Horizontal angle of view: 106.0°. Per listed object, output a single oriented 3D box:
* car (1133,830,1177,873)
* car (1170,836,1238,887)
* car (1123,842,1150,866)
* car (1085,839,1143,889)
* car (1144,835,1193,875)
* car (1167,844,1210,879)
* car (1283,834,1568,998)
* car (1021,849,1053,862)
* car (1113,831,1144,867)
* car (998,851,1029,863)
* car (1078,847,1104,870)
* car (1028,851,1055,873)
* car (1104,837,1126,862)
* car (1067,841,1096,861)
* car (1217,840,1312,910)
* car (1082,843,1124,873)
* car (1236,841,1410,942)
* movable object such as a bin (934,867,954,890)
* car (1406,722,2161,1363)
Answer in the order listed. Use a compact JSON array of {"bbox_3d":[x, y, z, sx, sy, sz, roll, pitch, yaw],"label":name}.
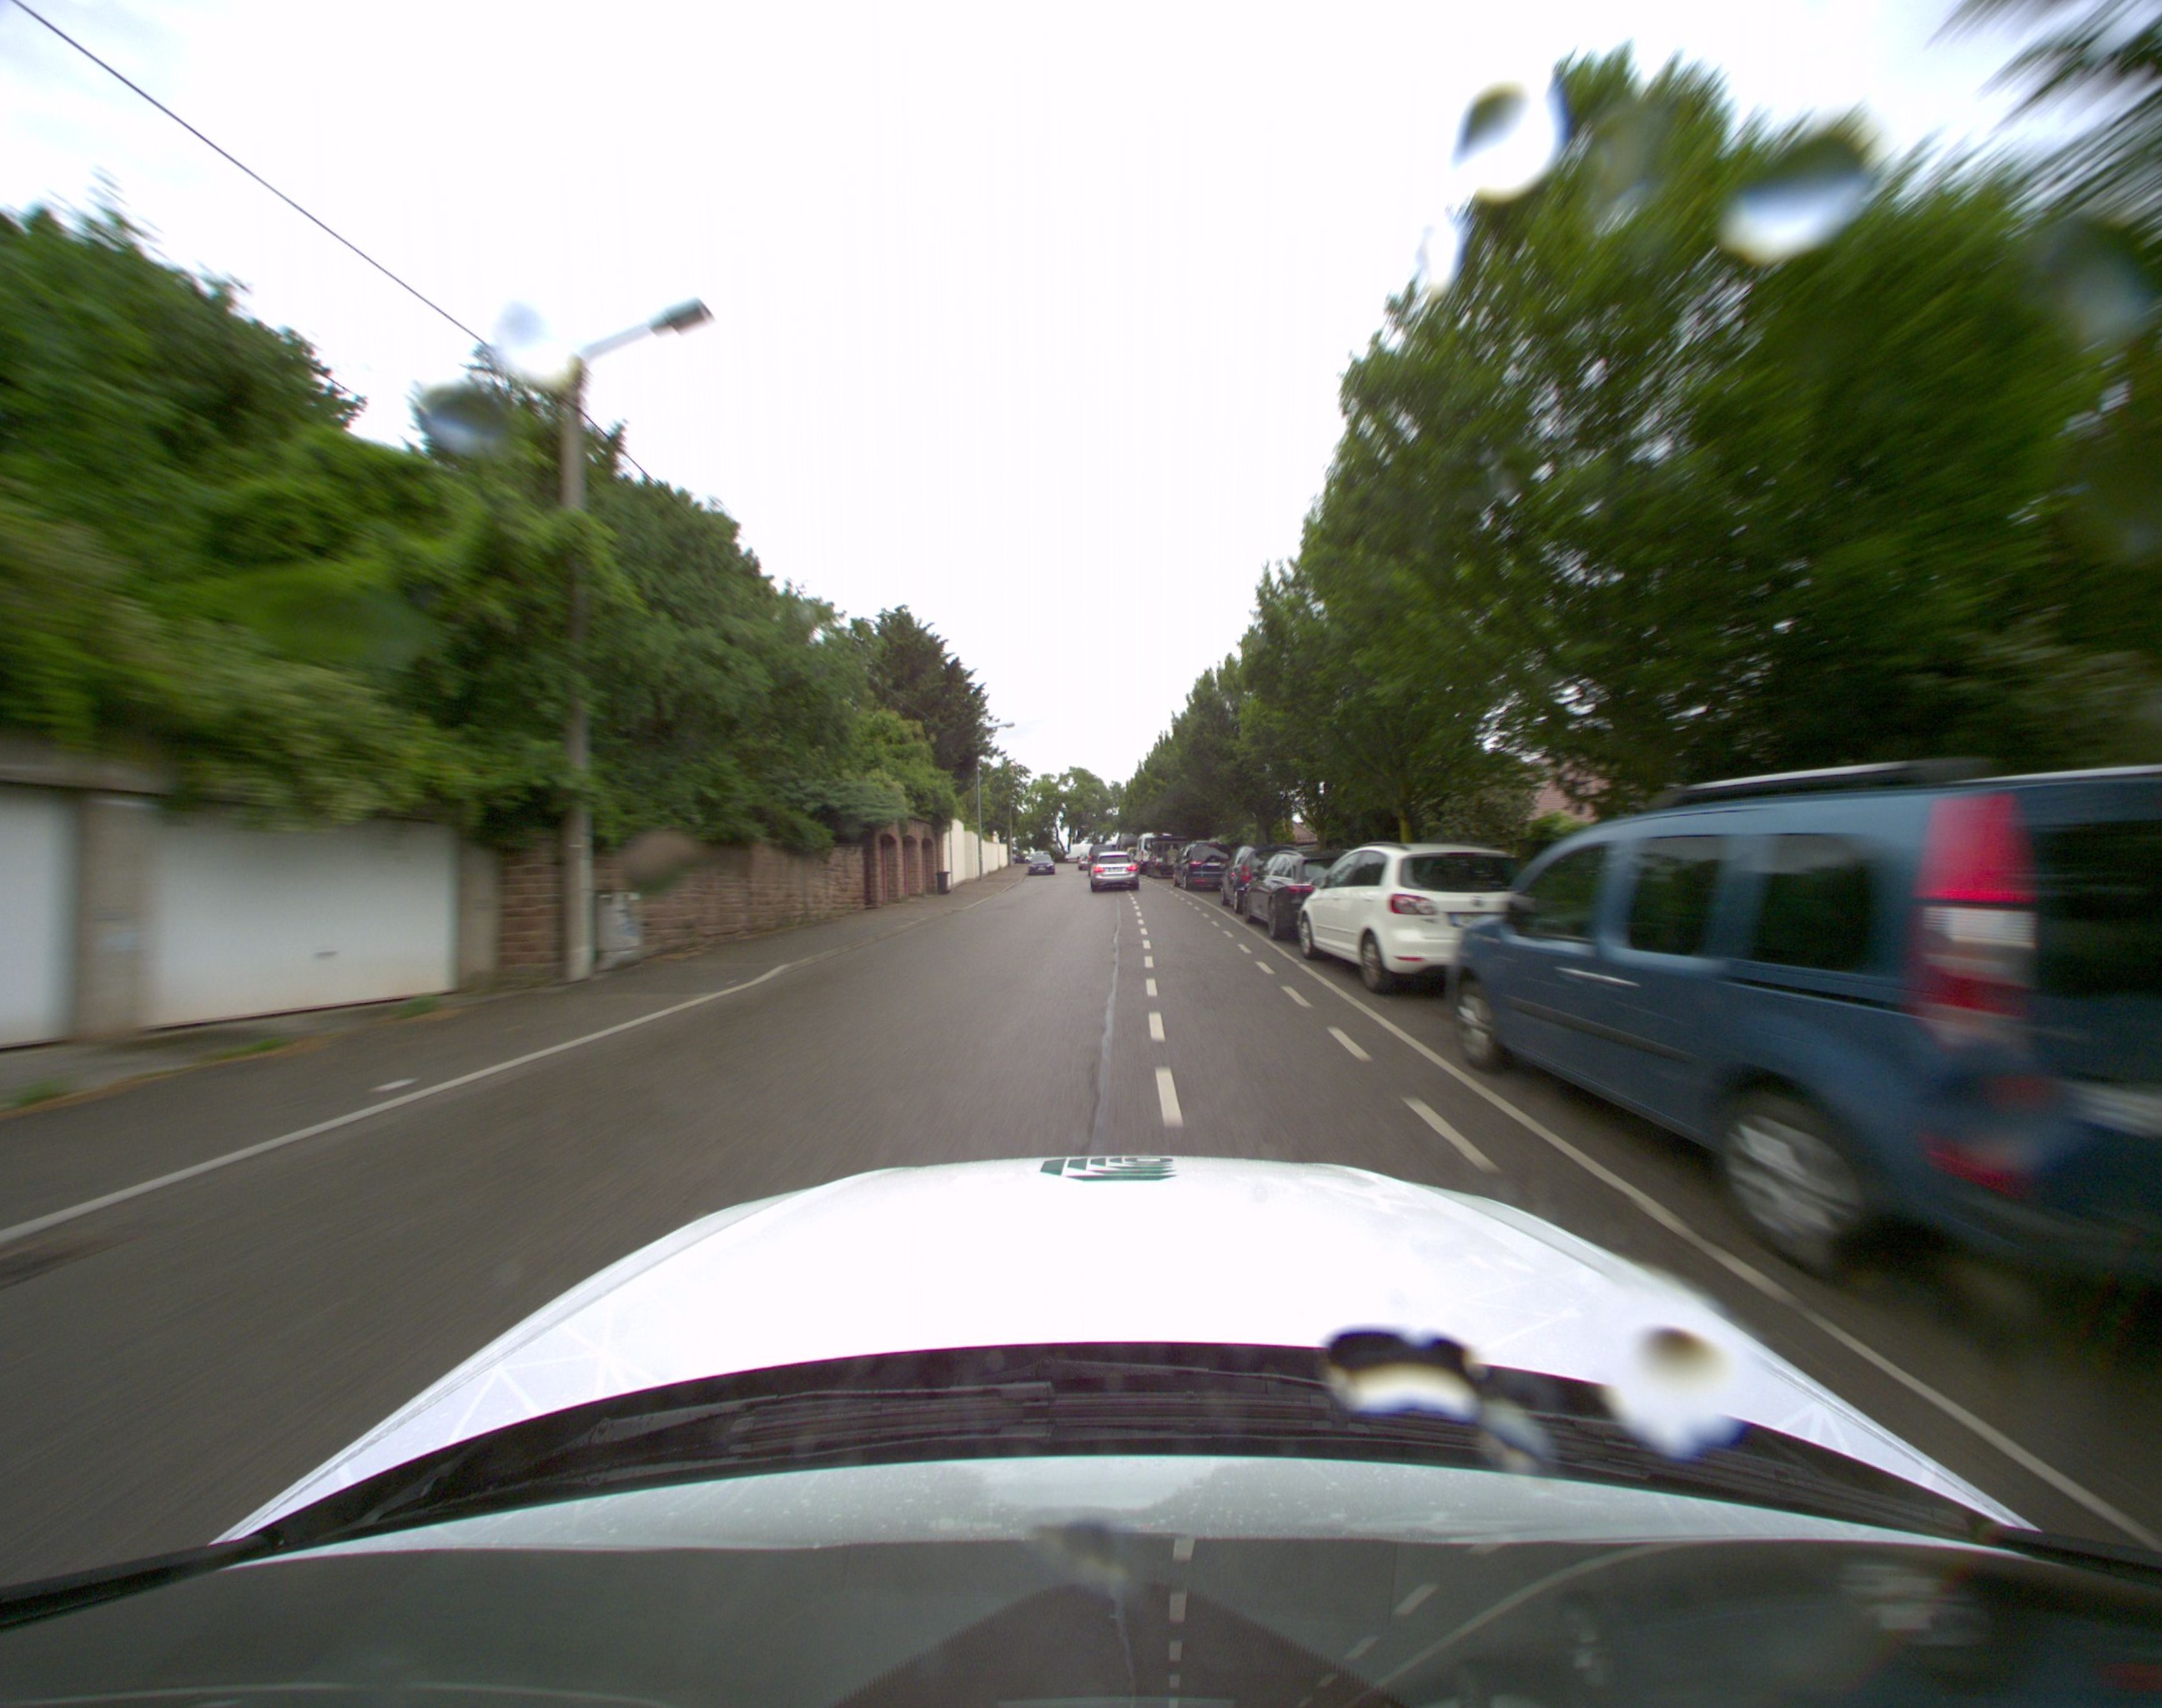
[{"bbox_3d":[4.601,-0.163,51.631,2.167,2.493,6.032,1,0,-1],"label":"car"},{"bbox_3d":[4.557,0.243,30.774,1.775,1.783,4.676,0,0,-1],"label":"car"},{"bbox_3d":[4.399,-0.023,64.568,1.722,1.785,4.274,3,0,-1],"label":"car"},{"bbox_3d":[1.257,0.330,31.553,2.018,1.708,4.217,-3,0,1],"label":"car"},{"bbox_3d":[4.610,0.050,43.763,1.988,2.052,5.118,0,0,-1],"label":"car"},{"bbox_3d":[5.021,0.350,38.239,1.591,1.558,2.954,-1,0,0],"label":"car"},{"bbox_3d":[3.919,0.599,10.129,1.777,1.609,4.223,0,0,0],"label":"car"},{"bbox_3d":[-6.415,0.221,119.423,4.439,1.697,1.983,1,0,39],"label":"car"},{"bbox_3d":[4.054,-0.437,70.653,2.119,2.887,5.765,1,0,-2],"label":"car"},{"bbox_3d":[-10.228,0.463,123.025,4.612,1.697,1.982,1,0,43],"label":"car"},{"bbox_3d":[0.798,0.369,63.329,1.987,1.708,4.000,0,-1,1],"label":"car"},{"bbox_3d":[-2.735,0.520,57.281,1.744,1.357,4.422,-3,1,-2],"label":"car"},{"bbox_3d":[3.580,-0.498,86.476,2.058,2.494,4.757,1,0,-1],"label":"car"},{"bbox_3d":[0.024,-0.402,109.605,2.136,2.527,4.458,1,0,-26],"label":"car"},{"bbox_3d":[4.448,0.469,20.231,1.686,1.570,3.926,0,0,3],"label":"car"},{"bbox_3d":[1.263,0.257,48.941,1.991,1.708,3.990,0,-1,-7],"label":"car"},{"bbox_3d":[4.196,0.570,14.984,1.985,1.537,4.853,0,0,3],"label":"car"},{"bbox_3d":[-5.597,1.006,33.290,0.656,0.919,0.677,-1,0,2],"label":"movable object such as a bin"},{"bbox_3d":[3.512,0.532,4.559,1.771,1.852,4.427,1,0,2],"label":"car"}]
